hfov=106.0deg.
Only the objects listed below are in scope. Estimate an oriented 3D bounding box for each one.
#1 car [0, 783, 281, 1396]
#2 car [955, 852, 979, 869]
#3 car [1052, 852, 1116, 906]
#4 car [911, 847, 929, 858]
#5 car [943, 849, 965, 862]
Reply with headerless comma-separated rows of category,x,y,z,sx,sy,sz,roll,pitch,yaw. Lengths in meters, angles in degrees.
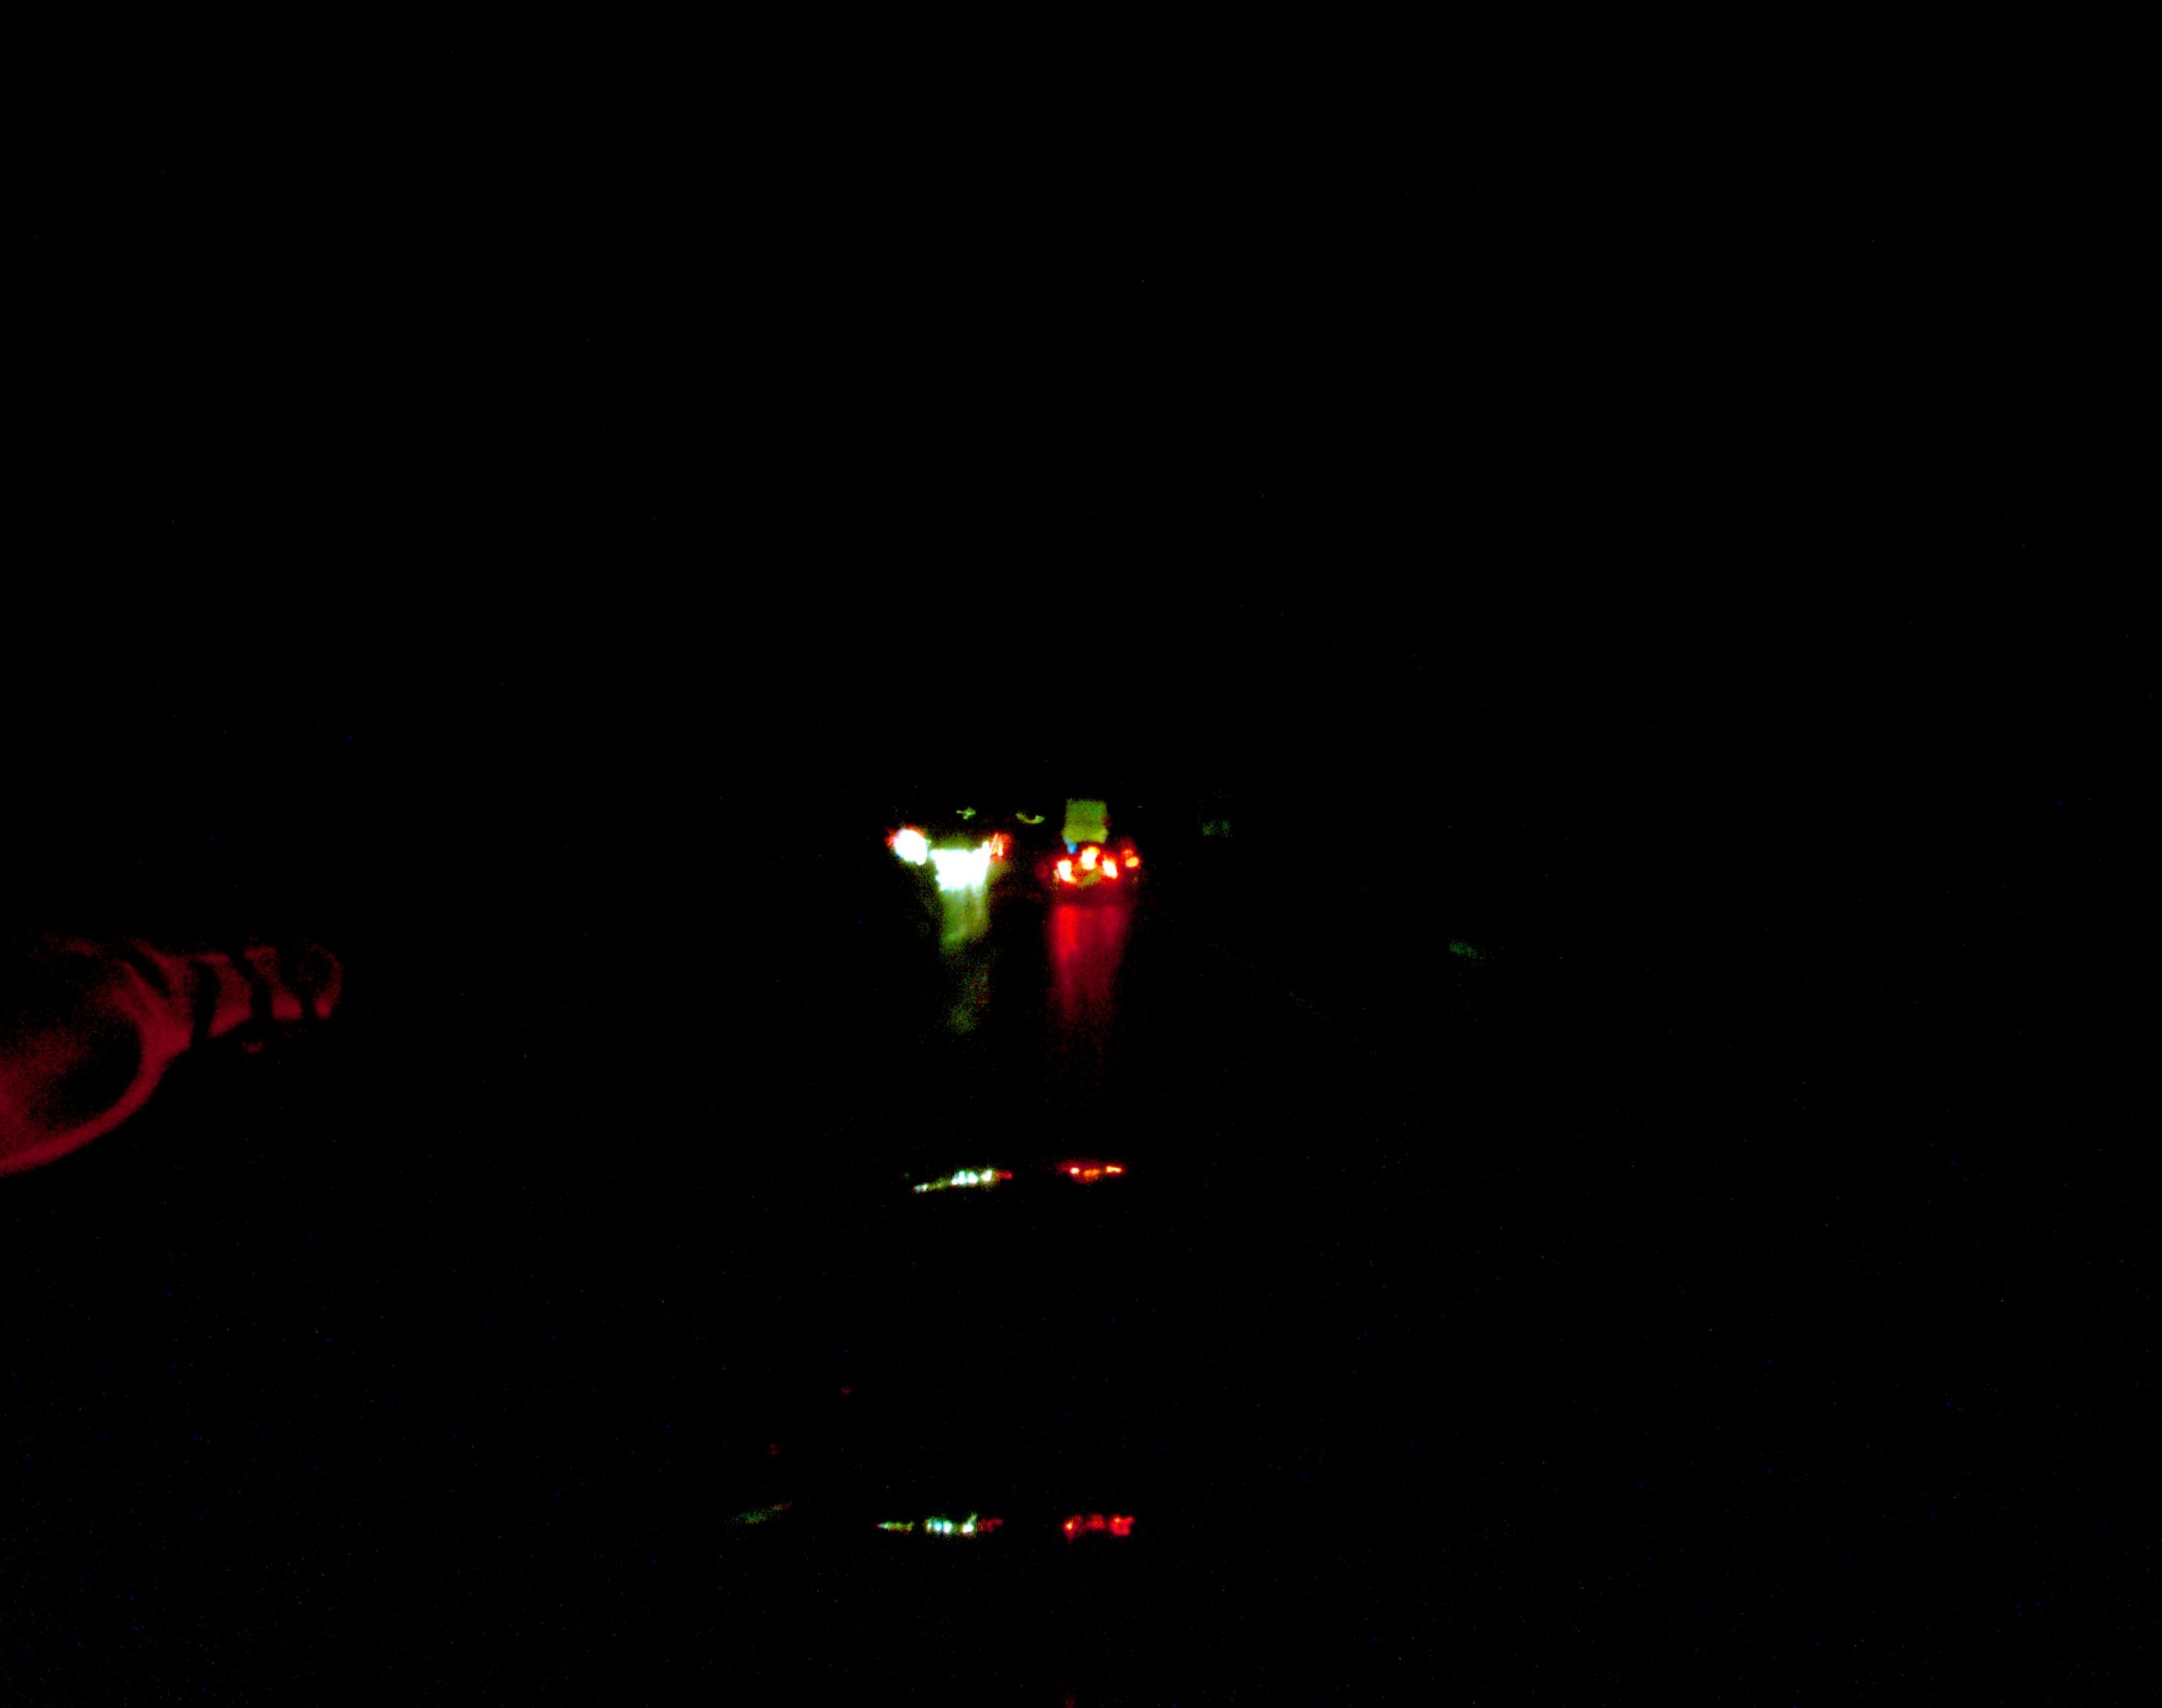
car,-4.087,0.693,0.558,1.986,1.708,4.986,-3,0,2
car,-10.361,0.562,73.708,1.774,1.483,4.360,-1,0,-14
car,0.097,0.779,27.999,1.987,1.628,4.983,0,0,0
car,-21.753,-0.212,110.073,1.777,1.389,4.205,-1,0,-19
car,-13.797,0.179,88.303,1.775,1.389,4.090,-1,0,-16
